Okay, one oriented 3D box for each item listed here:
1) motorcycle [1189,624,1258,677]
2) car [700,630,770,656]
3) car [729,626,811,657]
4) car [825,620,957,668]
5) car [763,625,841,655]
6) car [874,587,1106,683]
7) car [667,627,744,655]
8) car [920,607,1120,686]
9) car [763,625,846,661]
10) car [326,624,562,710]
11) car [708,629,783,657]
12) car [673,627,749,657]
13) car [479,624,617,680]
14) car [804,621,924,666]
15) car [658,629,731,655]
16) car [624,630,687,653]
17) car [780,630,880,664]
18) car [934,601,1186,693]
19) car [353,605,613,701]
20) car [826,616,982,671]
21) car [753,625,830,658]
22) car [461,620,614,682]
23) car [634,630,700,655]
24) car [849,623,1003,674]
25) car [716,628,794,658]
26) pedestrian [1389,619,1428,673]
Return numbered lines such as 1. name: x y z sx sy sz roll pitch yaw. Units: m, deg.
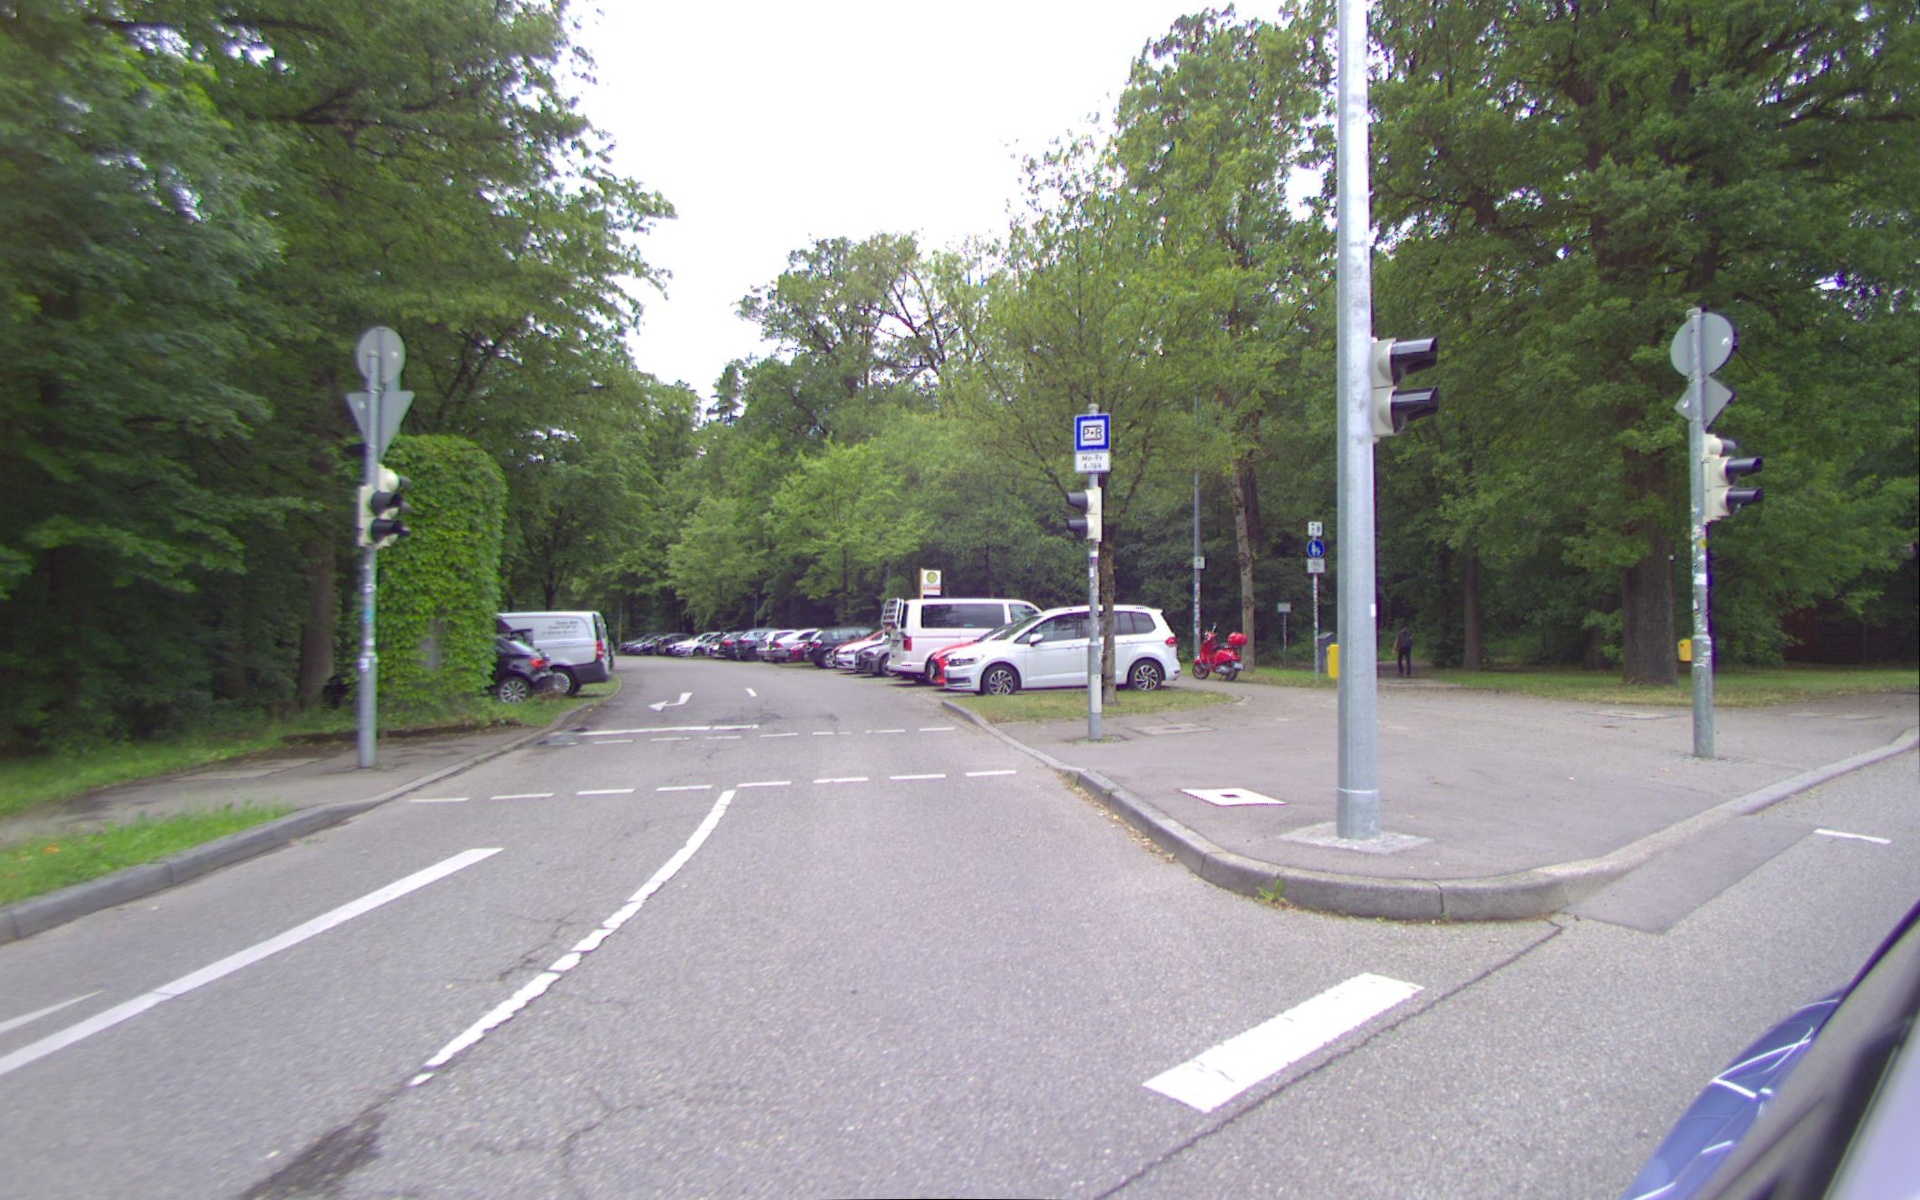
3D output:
1. motorcycle: 6.298 1.204 24.319 0.578 1.220 1.960 0 -2 -19
2. car: -12.777 2.430 57.491 3.692 1.447 1.660 0 -2 -22
3. car: -9.294 2.010 49.506 3.692 1.447 1.760 0 -2 -22
4. car: -2.329 1.445 33.784 4.112 1.515 1.822 0 -2 -15
5. car: -7.098 1.801 45.474 3.214 1.278 1.521 0 -2 -21
6. car: 0.673 0.806 24.130 5.075 1.982 2.066 -2 -2 -15
7. car: -16.057 2.585 63.847 4.370 1.672 2.001 0 -2 -31
8. car: 1.229 0.971 21.733 3.917 1.572 1.897 0 -2 -11
9. car: -6.595 1.796 42.967 3.214 1.448 1.521 0 -2 -21
10. car: -9.534 1.206 19.015 3.768 1.438 1.824 0 -2 -23
11. car: -11.524 2.290 54.263 3.692 1.447 1.760 0 -2 -22
12. car: -15.050 2.524 61.298 4.134 1.672 1.845 0 -2 -31
13. car: -12.839 1.608 31.726 3.907 1.639 1.851 0 -2 -21
14. car: -3.436 1.528 35.926 3.982 1.476 1.767 0 -2 -15
15. car: -17.905 2.797 68.256 4.370 1.672 2.001 0 -2 -31
16. car: -22.389 3.040 74.486 4.057 1.672 2.001 0 -2 -31
17. car: -5.235 1.860 40.693 3.695 1.283 1.622 0 -2 -21
18. car: 1.801 0.853 19.098 4.329 1.572 2.002 0 -2 -10
19. car: -10.114 1.103 21.922 4.846 1.903 2.003 0 -2 -17
20. car: -1.725 1.302 31.090 4.437 1.578 1.846 0 -2 -18
21. car: -7.918 1.936 47.502 3.314 1.460 1.523 0 -2 -23
22. car: -11.949 1.410 28.844 3.907 1.643 1.851 0 -2 -21
23. car: -20.718 2.978 71.590 4.168 1.672 2.001 0 -2 -31
24. car: -0.997 1.345 28.763 4.042 1.342 1.822 0 -2 -15
25. car: -10.526 2.214 51.947 3.692 1.447 1.760 0 -2 -22
26. pedestrian: 14.266 1.450 32.169 0.830 1.672 1.020 -3 -3 41
